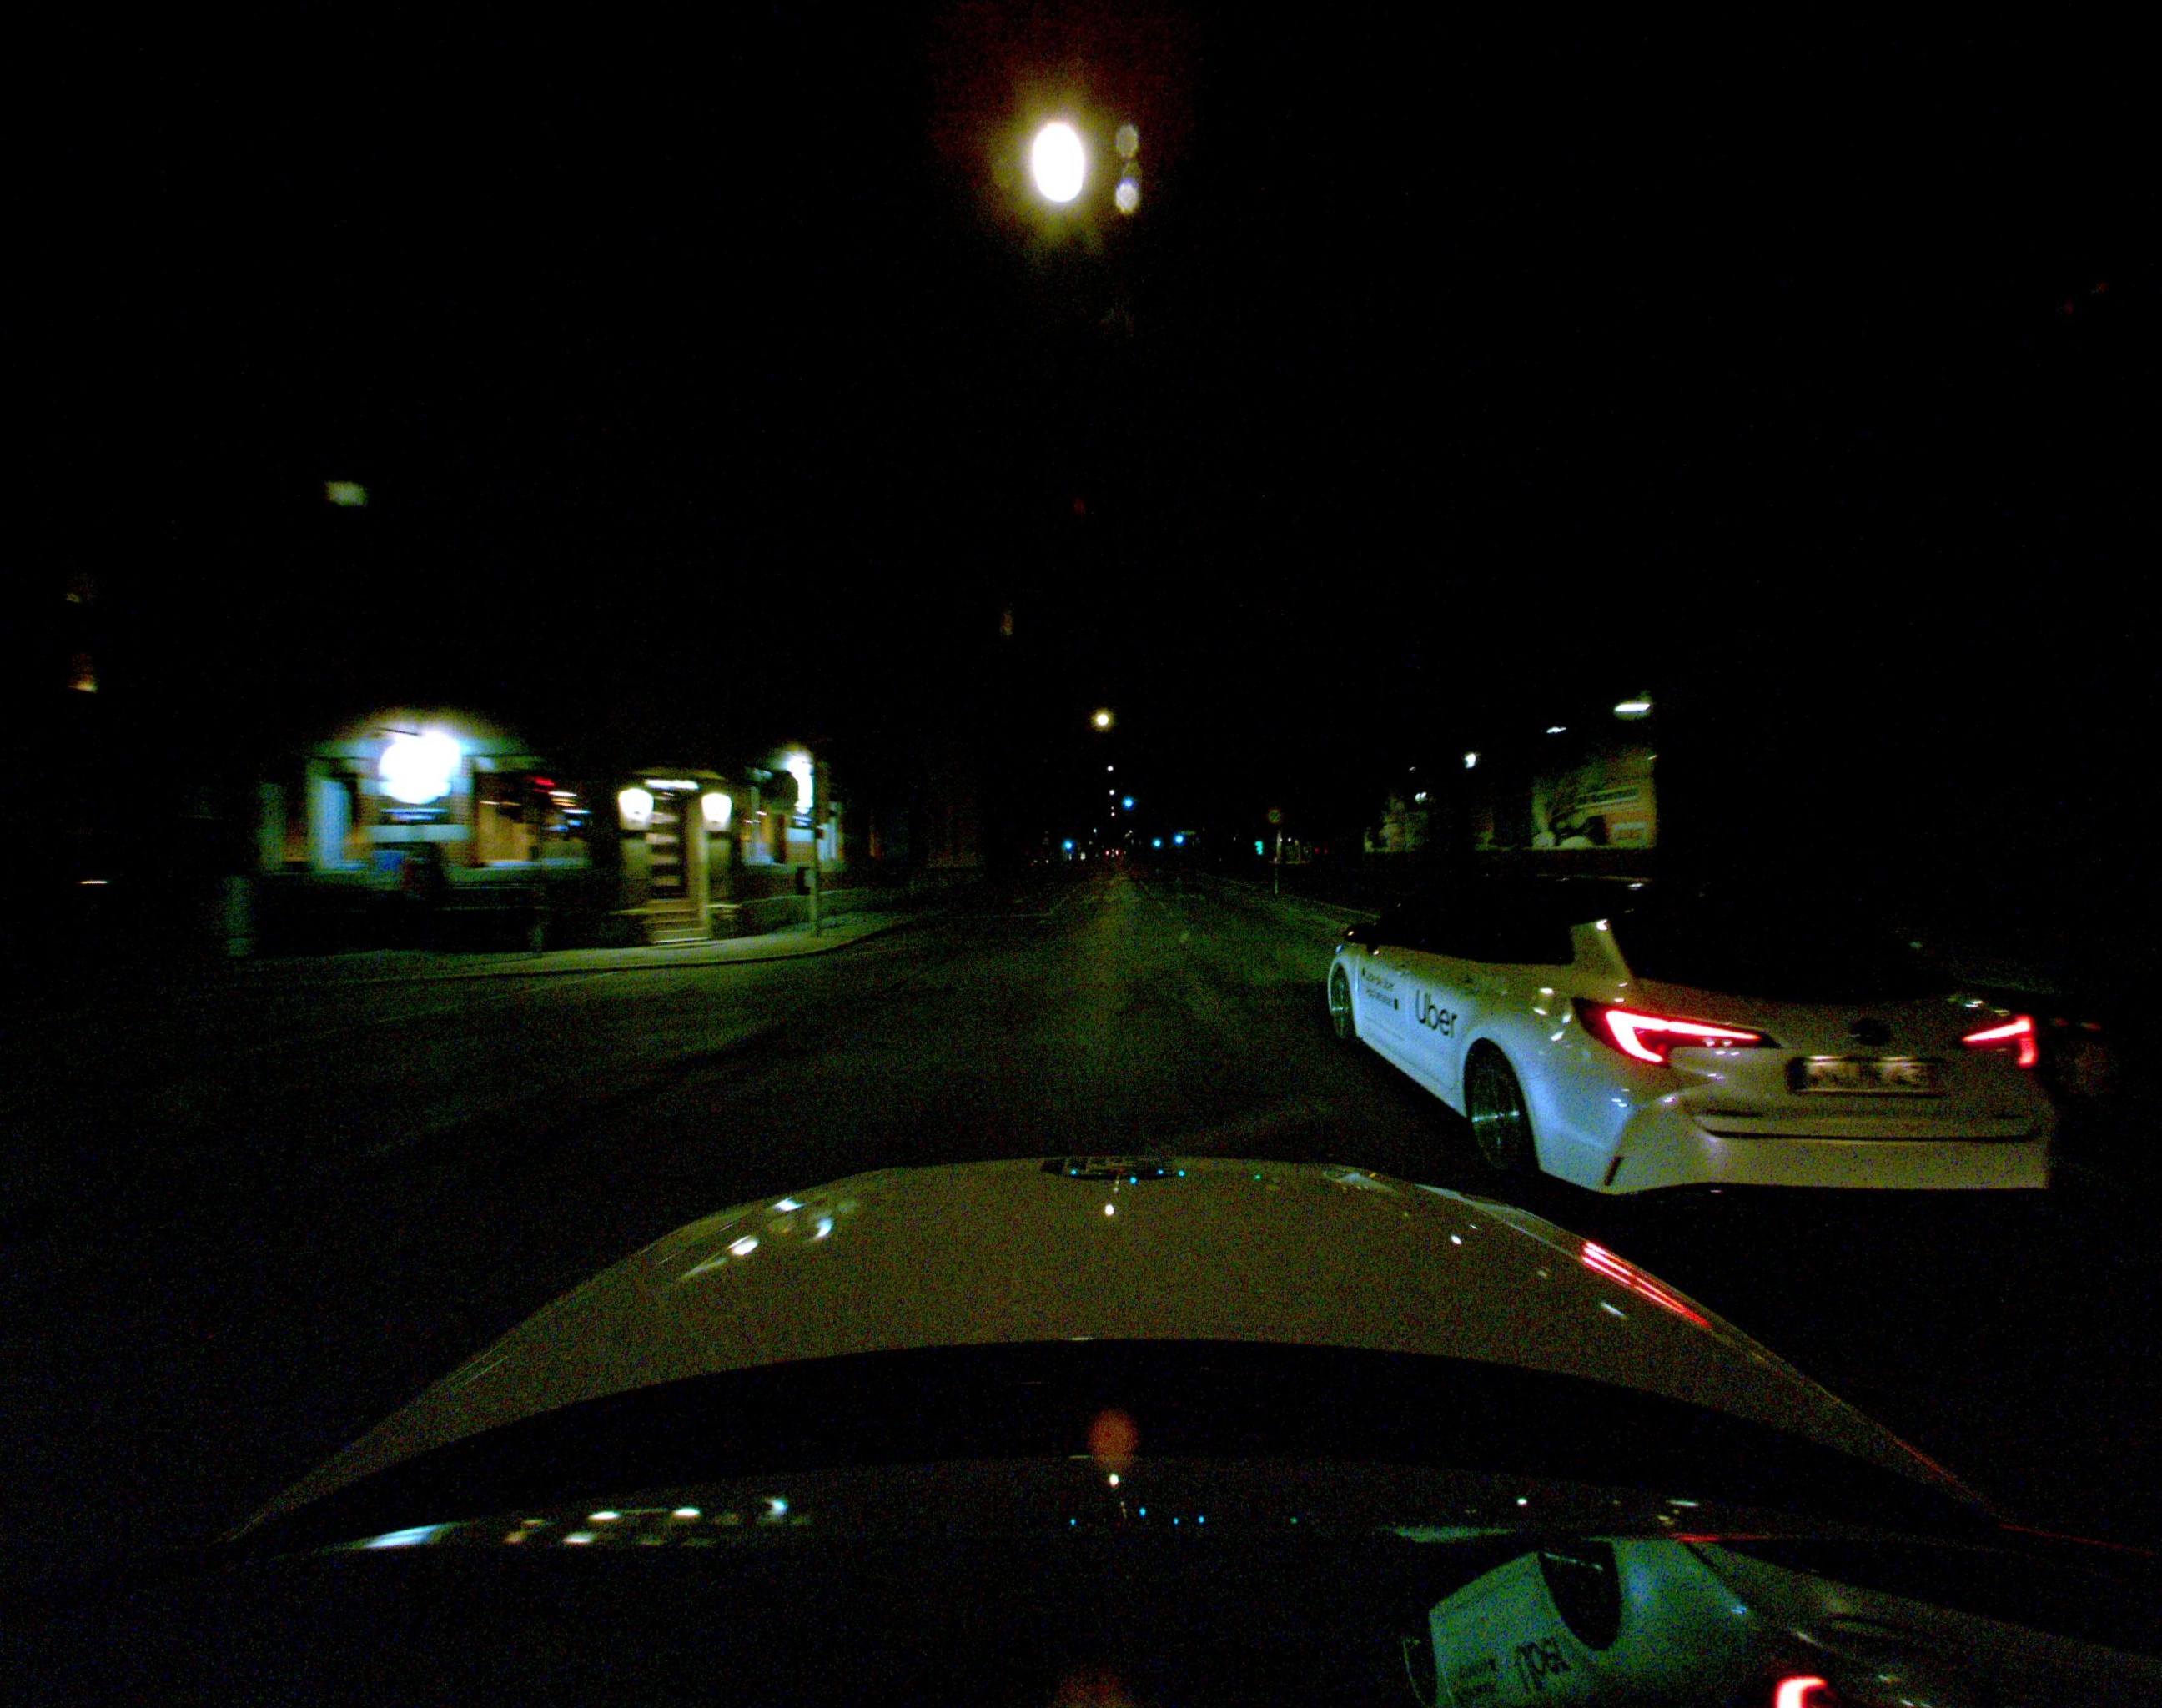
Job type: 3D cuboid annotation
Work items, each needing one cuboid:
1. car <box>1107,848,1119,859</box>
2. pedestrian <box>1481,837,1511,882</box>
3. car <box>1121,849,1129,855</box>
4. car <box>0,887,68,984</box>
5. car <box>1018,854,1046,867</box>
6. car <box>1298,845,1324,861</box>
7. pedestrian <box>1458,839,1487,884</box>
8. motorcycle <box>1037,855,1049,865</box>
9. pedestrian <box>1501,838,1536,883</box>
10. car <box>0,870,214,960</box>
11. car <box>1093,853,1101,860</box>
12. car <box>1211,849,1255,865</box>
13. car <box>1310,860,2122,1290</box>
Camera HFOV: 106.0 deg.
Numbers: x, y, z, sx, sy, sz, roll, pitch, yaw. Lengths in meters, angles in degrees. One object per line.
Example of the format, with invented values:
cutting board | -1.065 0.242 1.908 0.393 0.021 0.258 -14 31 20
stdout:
car | 5.388 -0.071 137.682 1.987 1.640 4.000 -1 0 1
pedestrian | 16.701 0.235 32.799 0.736 1.769 0.907 -2 0 2
car | 11.126 -0.480 206.242 1.987 1.596 3.999 -2 0 0
car | -18.200 1.292 12.011 4.260 1.402 1.802 -2 0 1
car | -6.094 0.818 101.076 1.815 1.486 3.962 -2 0 -29
car | 22.535 -0.097 79.964 1.567 1.487 3.833 -2 0 2
pedestrian | 15.750 0.305 32.776 0.711 1.769 0.907 -2 0 2
motorcycle | -4.606 0.714 98.101 0.783 1.204 2.436 -2 0 -16
pedestrian | 17.740 0.271 33.016 0.897 1.769 0.907 -2 0 2
car | -19.558 1.154 15.746 3.599 1.594 1.700 -1 -2 -4
car | 3.785 0.577 191.976 1.772 1.390 4.000 -2 0 0
car | 14.688 0.265 78.664 3.968 1.386 1.774 -2 0 5
car | 2.788 0.778 4.923 1.723 1.435 4.212 1 0 1
